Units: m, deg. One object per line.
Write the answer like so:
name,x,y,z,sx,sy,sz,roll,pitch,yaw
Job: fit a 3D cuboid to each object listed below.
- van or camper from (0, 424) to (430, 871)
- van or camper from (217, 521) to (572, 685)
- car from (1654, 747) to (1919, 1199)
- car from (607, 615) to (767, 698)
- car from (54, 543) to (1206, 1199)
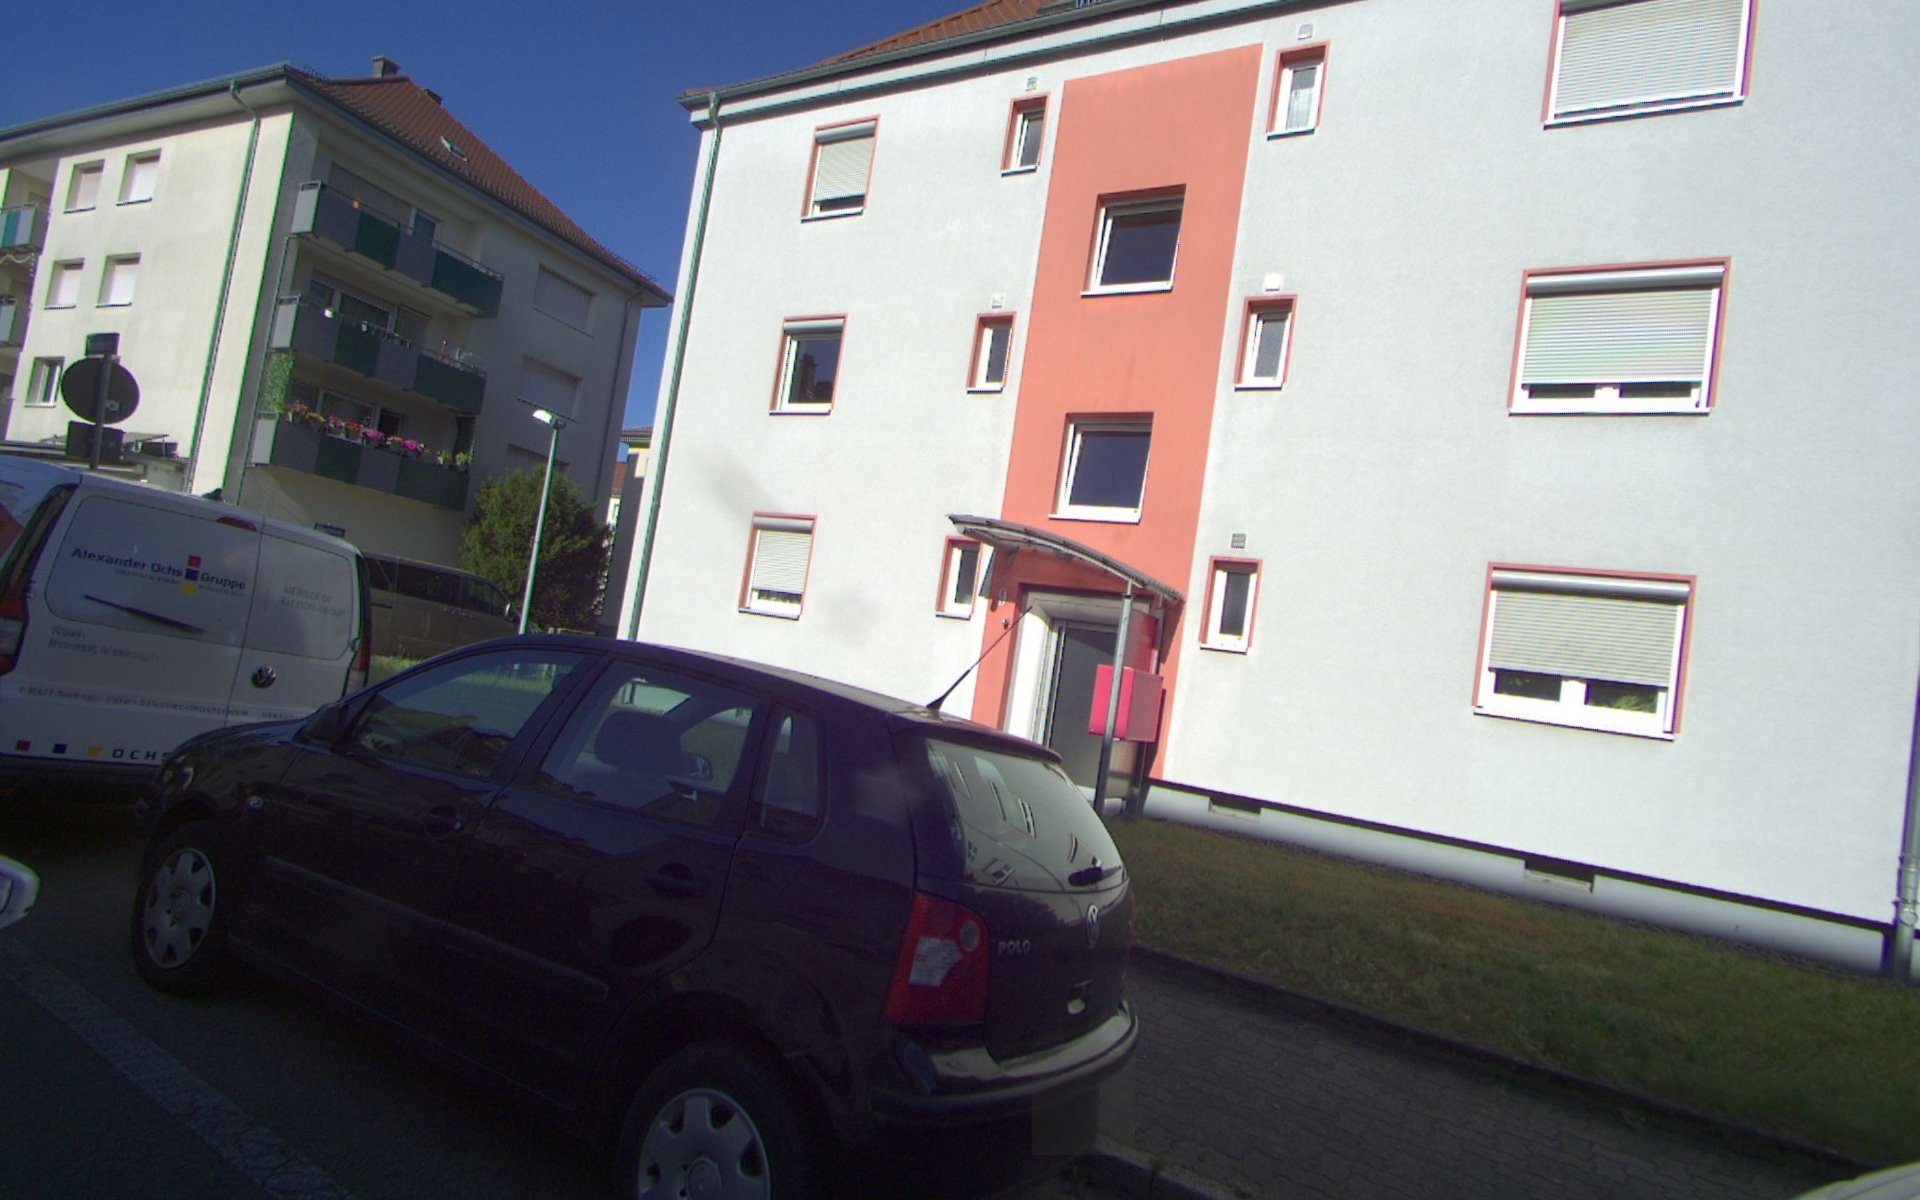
van or camper,-5.475,0.136,5.858,4.655,1.762,1.802,6,-8,31
van or camper,-10.058,0.186,18.422,1.967,2.034,5.140,8,-4,32
car,2.965,1.238,0.945,3.547,1.566,1.625,7,-5,27
car,-6.617,1.424,24.700,1.652,1.546,3.486,6,-5,30
car,-1.266,0.782,3.519,3.723,1.433,1.578,7,-3,29
